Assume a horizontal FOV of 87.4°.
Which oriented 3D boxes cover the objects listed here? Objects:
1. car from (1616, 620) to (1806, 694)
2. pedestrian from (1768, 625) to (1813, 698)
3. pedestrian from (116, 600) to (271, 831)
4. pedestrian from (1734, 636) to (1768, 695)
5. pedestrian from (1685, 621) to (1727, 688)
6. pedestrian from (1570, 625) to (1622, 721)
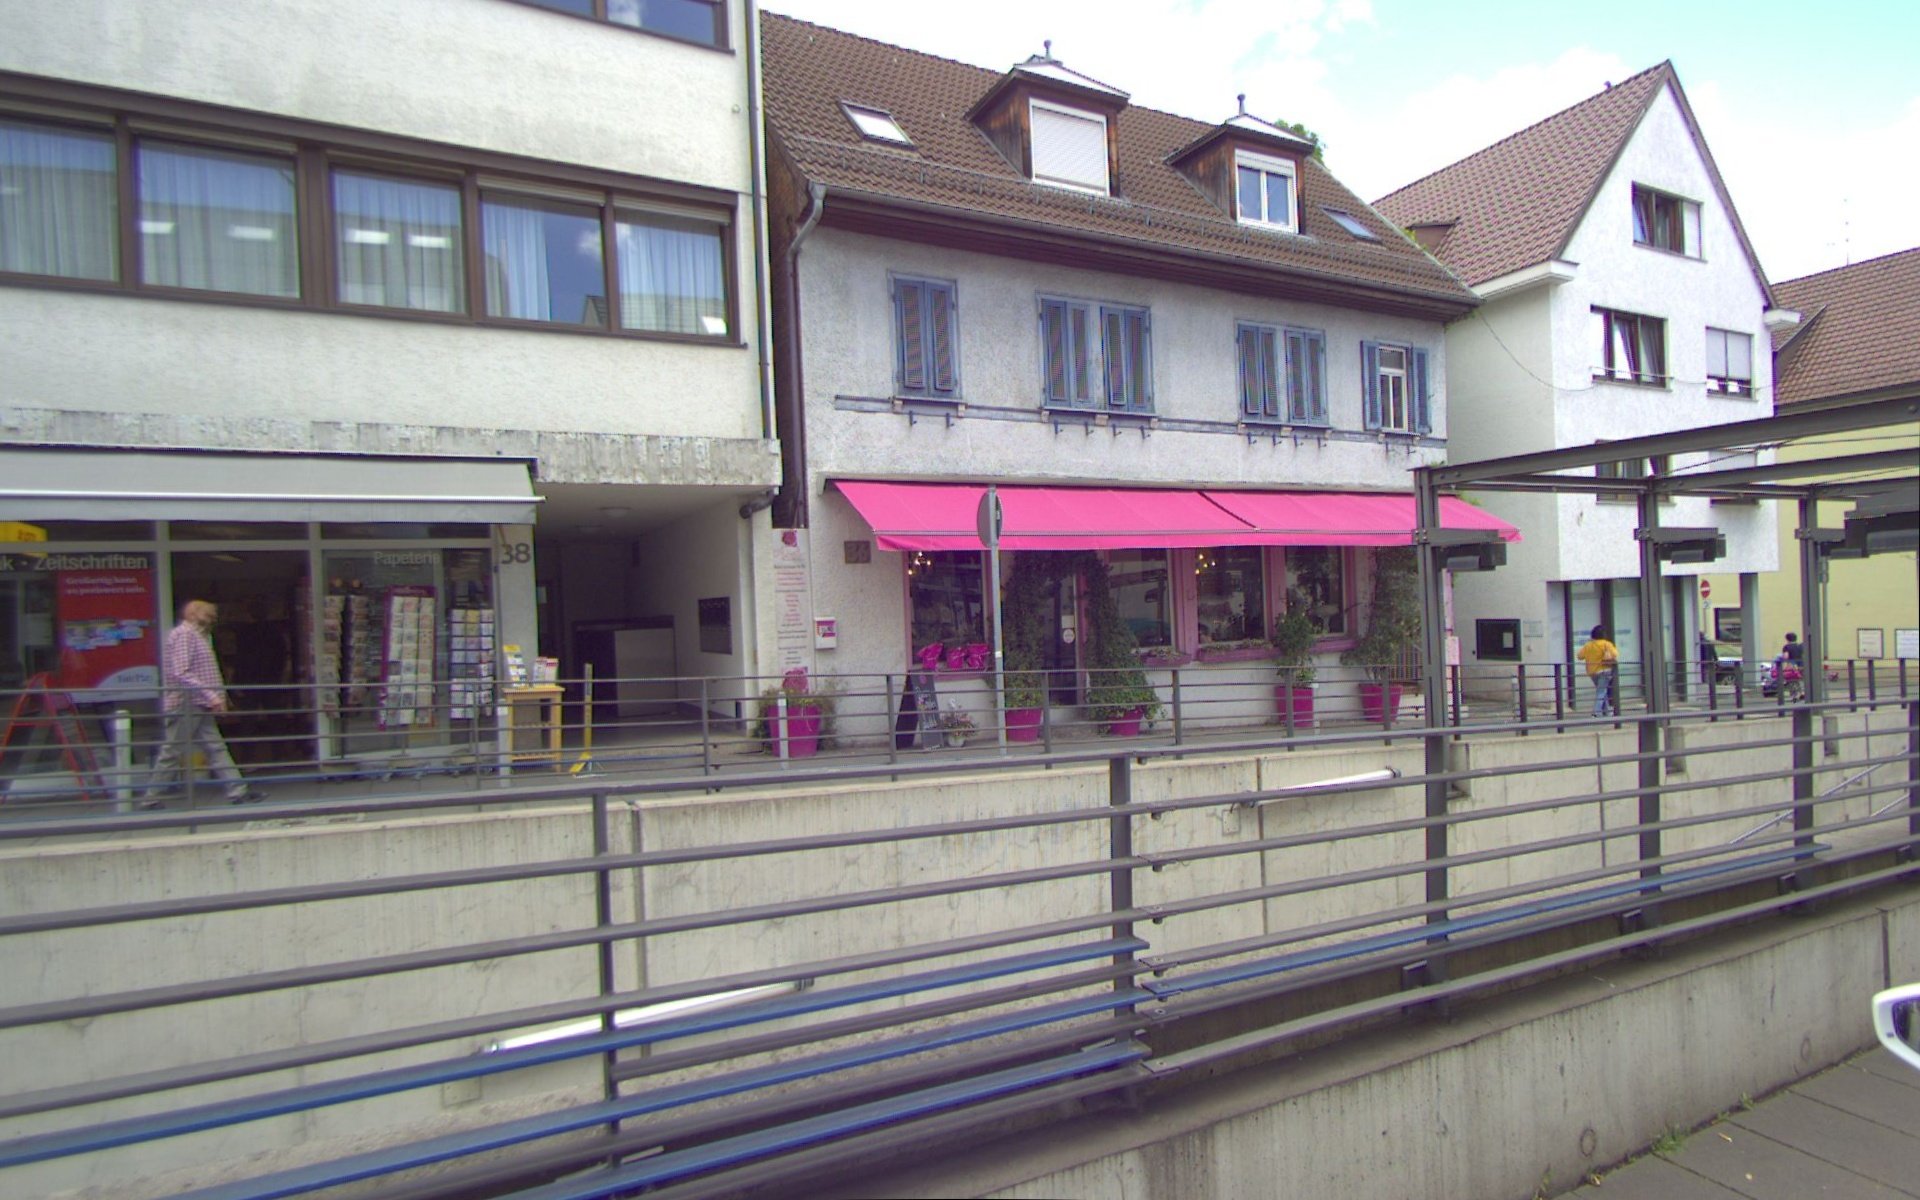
[{"bbox_3d":[21.861,1.605,29.458,1.805,1.754,4.178,1,2,-16],"label":"car"},{"bbox_3d":[20.065,1.469,24.269,0.671,1.711,0.622,1,0,-30],"label":"pedestrian"},{"bbox_3d":[-6.004,0.870,7.919,0.816,1.711,0.637,1,-2,-25],"label":"pedestrian"},{"bbox_3d":[19.653,1.621,24.952,0.527,1.440,0.455,1,0,-27],"label":"pedestrian"},{"bbox_3d":[19.563,1.413,26.338,0.722,1.711,0.648,1,0,-32],"label":"pedestrian"},{"bbox_3d":[11.738,1.332,18.540,0.570,1.711,0.575,1,0,-30],"label":"pedestrian"}]
